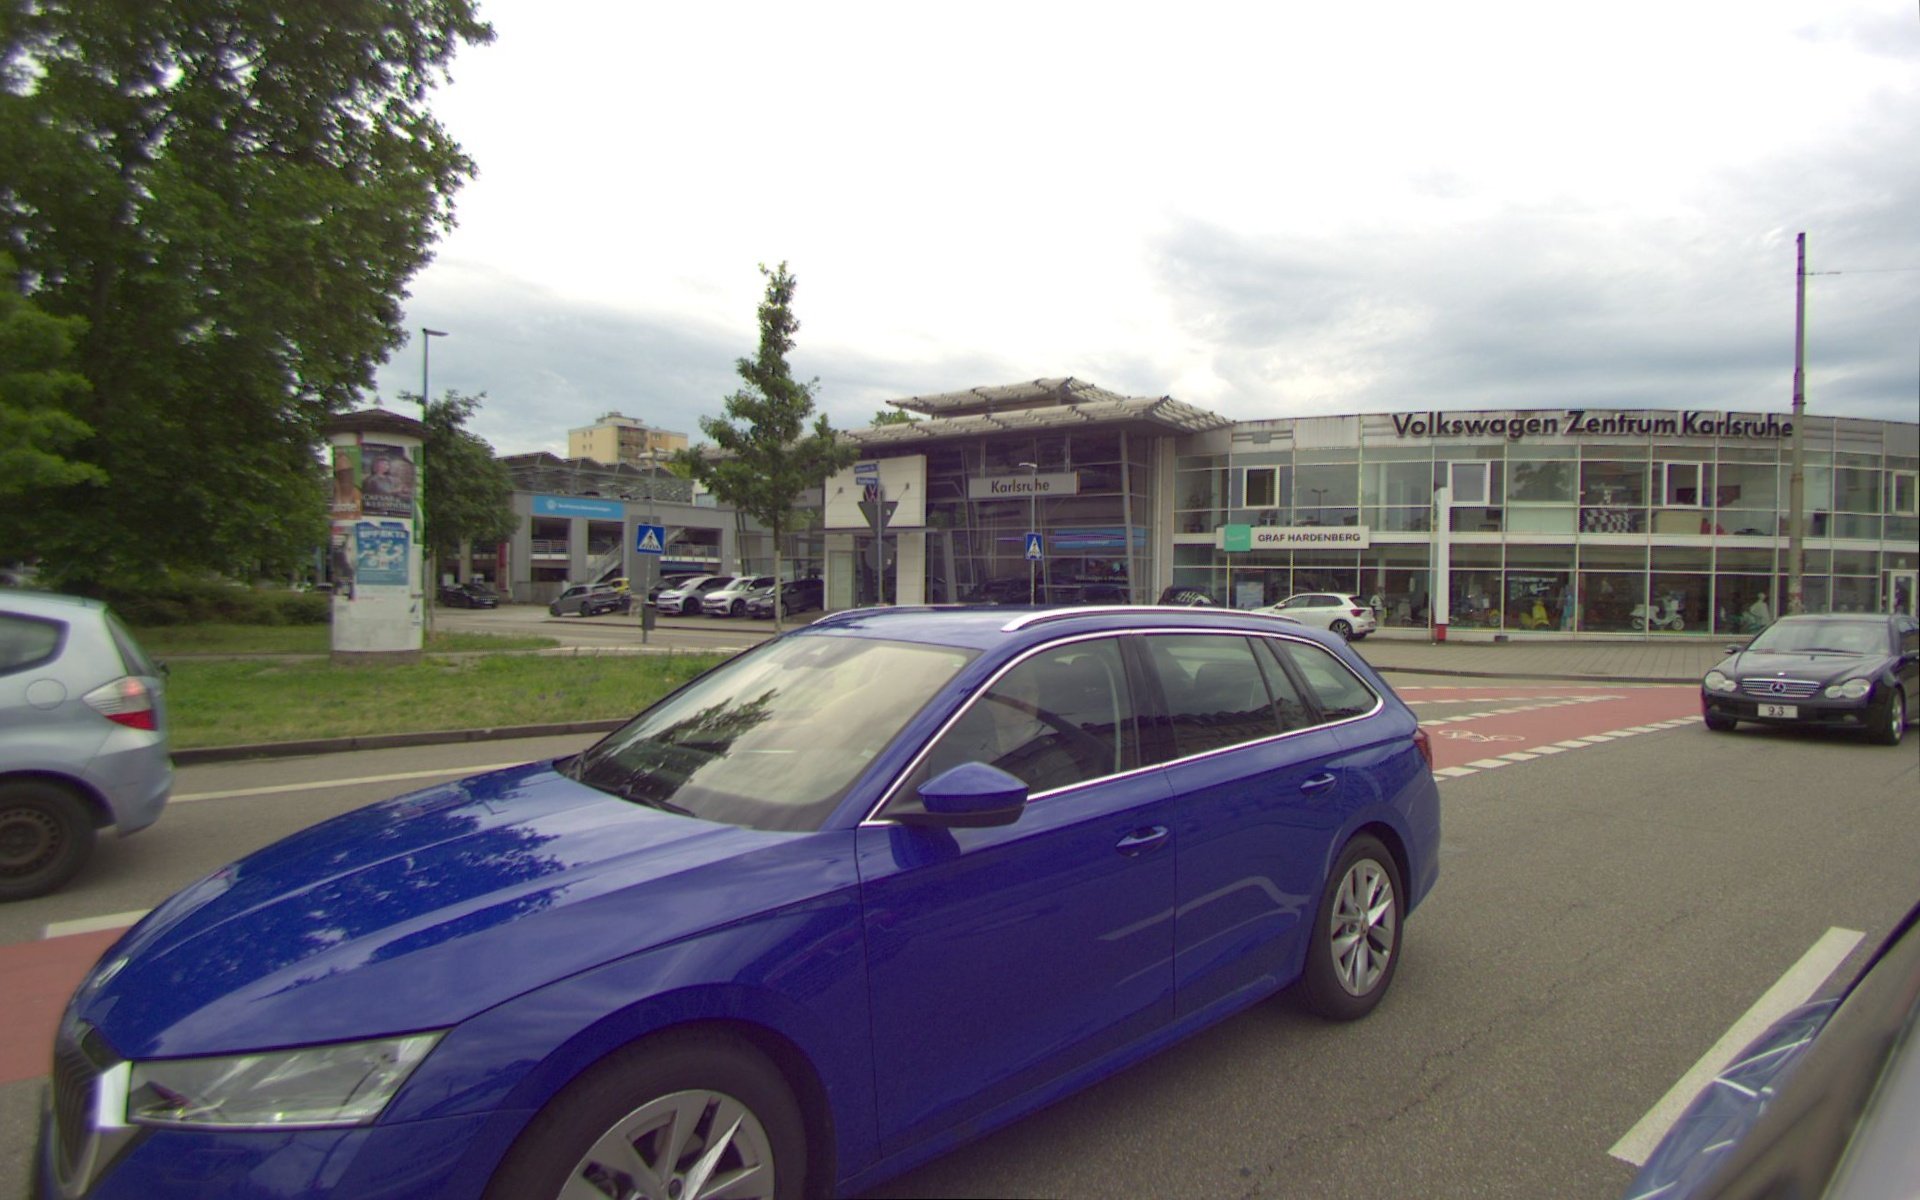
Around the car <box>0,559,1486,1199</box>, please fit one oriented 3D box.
[{"bbox_3d":[-0.116,0.660,3.333,4.387,1.507,1.783,-1,2,-41],"label":"car"}]

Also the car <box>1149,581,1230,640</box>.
[{"bbox_3d":[7.343,0.269,32.739,1.867,1.581,4.219,1,3,4],"label":"car"}]

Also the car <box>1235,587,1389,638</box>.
[{"bbox_3d":[11.000,0.348,31.788,4.243,1.471,1.757,1,1,40],"label":"car"}]

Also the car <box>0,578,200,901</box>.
[{"bbox_3d":[-5.960,0.635,4.493,4.027,1.485,1.752,0,1,-41],"label":"car"}]

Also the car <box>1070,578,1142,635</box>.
[{"bbox_3d":[4.696,0.148,33.120,1.824,1.522,4.340,0,4,2],"label":"car"}]

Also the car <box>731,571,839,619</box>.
[{"bbox_3d":[-7.330,-0.257,42.843,1.886,1.717,4.421,0,4,36],"label":"car"}]

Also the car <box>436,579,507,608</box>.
[{"bbox_3d":[-29.001,-0.408,60.040,4.446,1.567,1.876,2,2,35],"label":"car"}]

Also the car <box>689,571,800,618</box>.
[{"bbox_3d":[-9.413,-0.282,44.588,1.850,1.719,4.716,0,4,36],"label":"car"}]

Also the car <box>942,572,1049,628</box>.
[{"bbox_3d":[1.335,-0.057,35.837,1.846,1.652,4.464,0,4,31],"label":"car"}]

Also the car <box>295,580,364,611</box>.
[{"bbox_3d":[-37.078,-0.291,59.493,4.446,1.643,1.838,2,2,35],"label":"car"}]

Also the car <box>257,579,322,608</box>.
[{"bbox_3d":[-41.734,-0.418,62.967,4.446,1.643,1.838,2,2,35],"label":"car"}]

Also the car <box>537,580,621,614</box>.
[{"bbox_3d":[-18.652,-0.170,49.489,3.988,1.583,1.896,0,2,35],"label":"car"}]

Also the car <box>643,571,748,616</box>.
[{"bbox_3d":[-11.994,-0.337,46.183,1.859,1.719,4.419,0,4,37],"label":"car"}]

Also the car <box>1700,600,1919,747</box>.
[{"bbox_3d":[10.624,0.741,12.074,3.992,1.439,1.716,0,1,-35],"label":"car"}]

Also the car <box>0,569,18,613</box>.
[{"bbox_3d":[-36.513,-0.331,36.325,4.408,1.567,1.854,1,1,13],"label":"car"}]
